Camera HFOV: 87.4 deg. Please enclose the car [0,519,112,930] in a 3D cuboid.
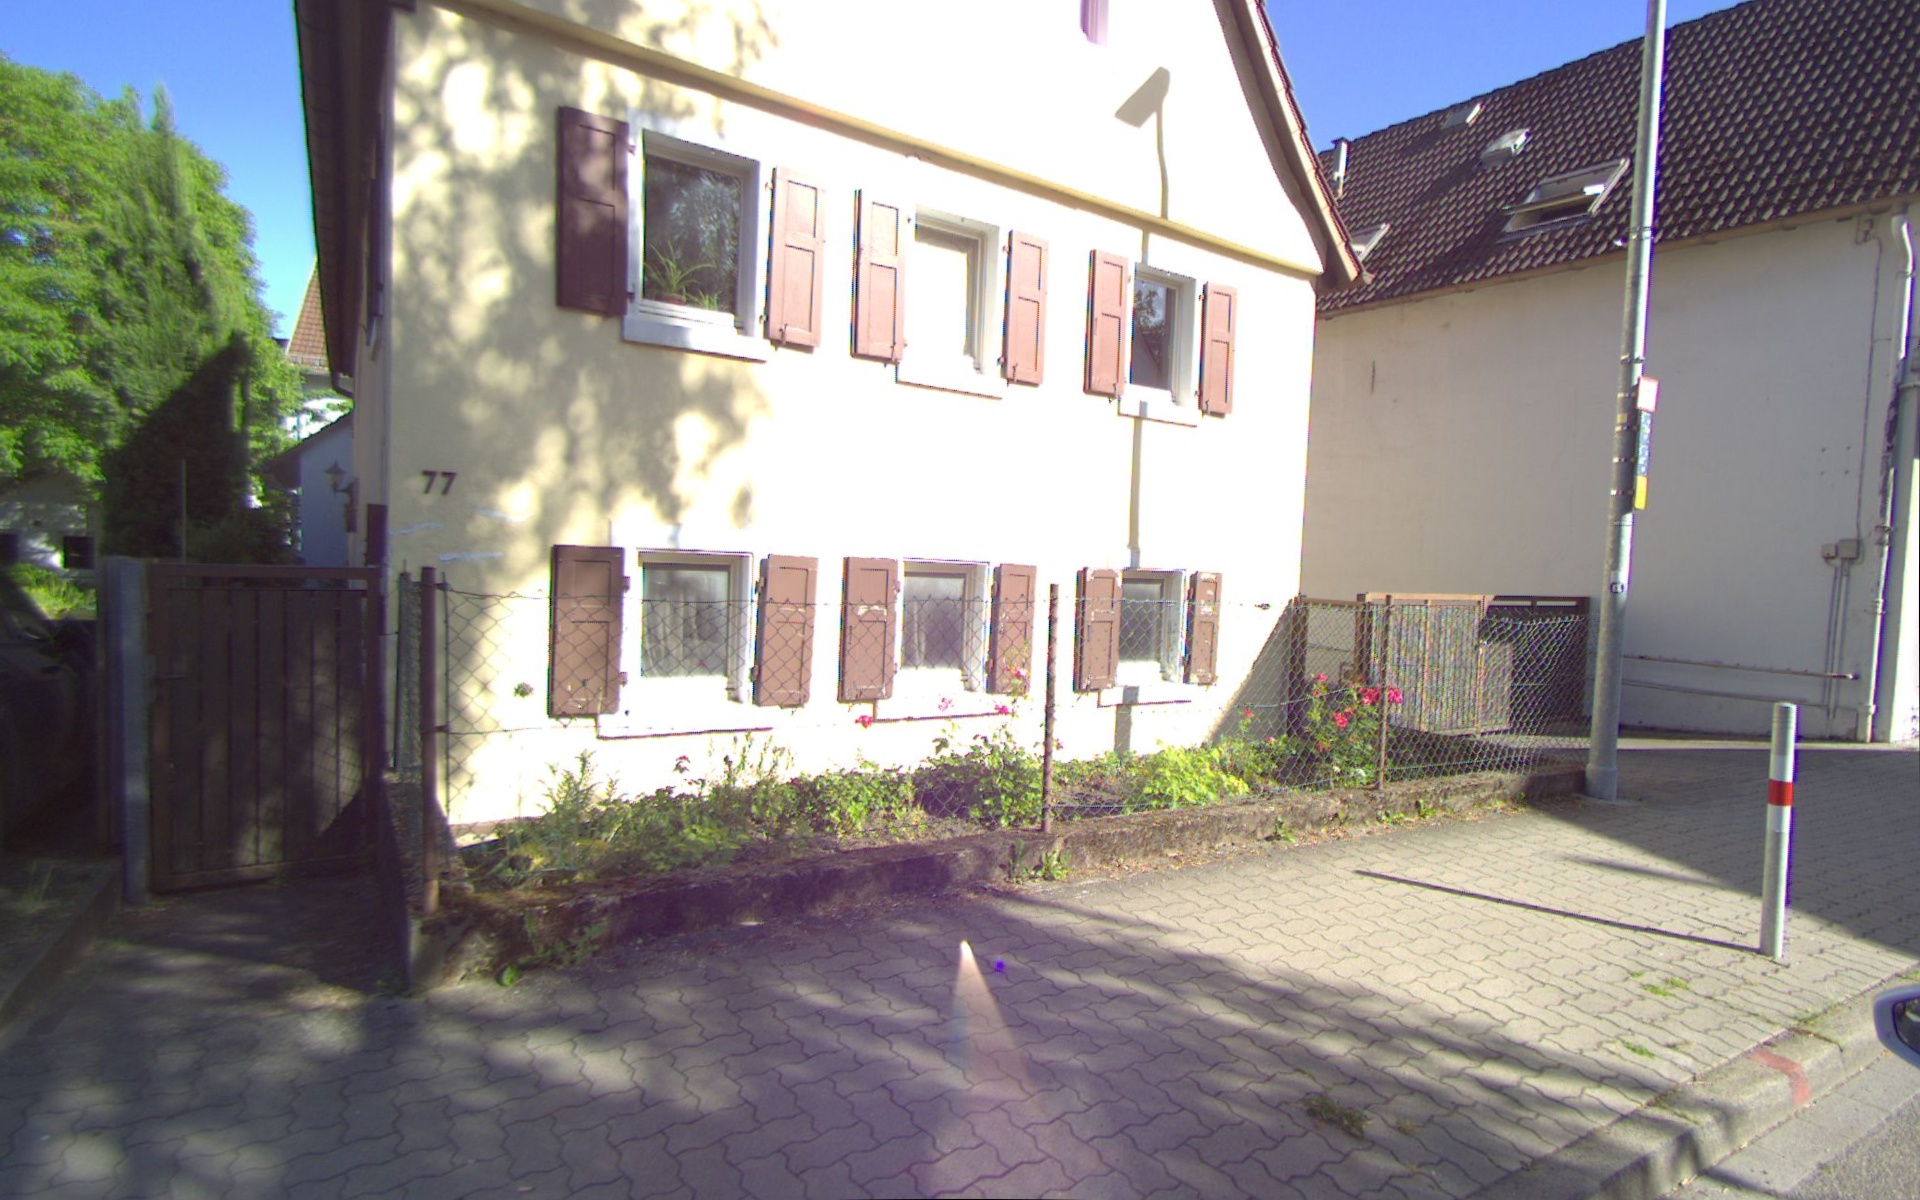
[{"bbox_3d":[-4.781,0.430,3.930,1.830,1.481,4.131,0,1,-35],"label":"car"}]
